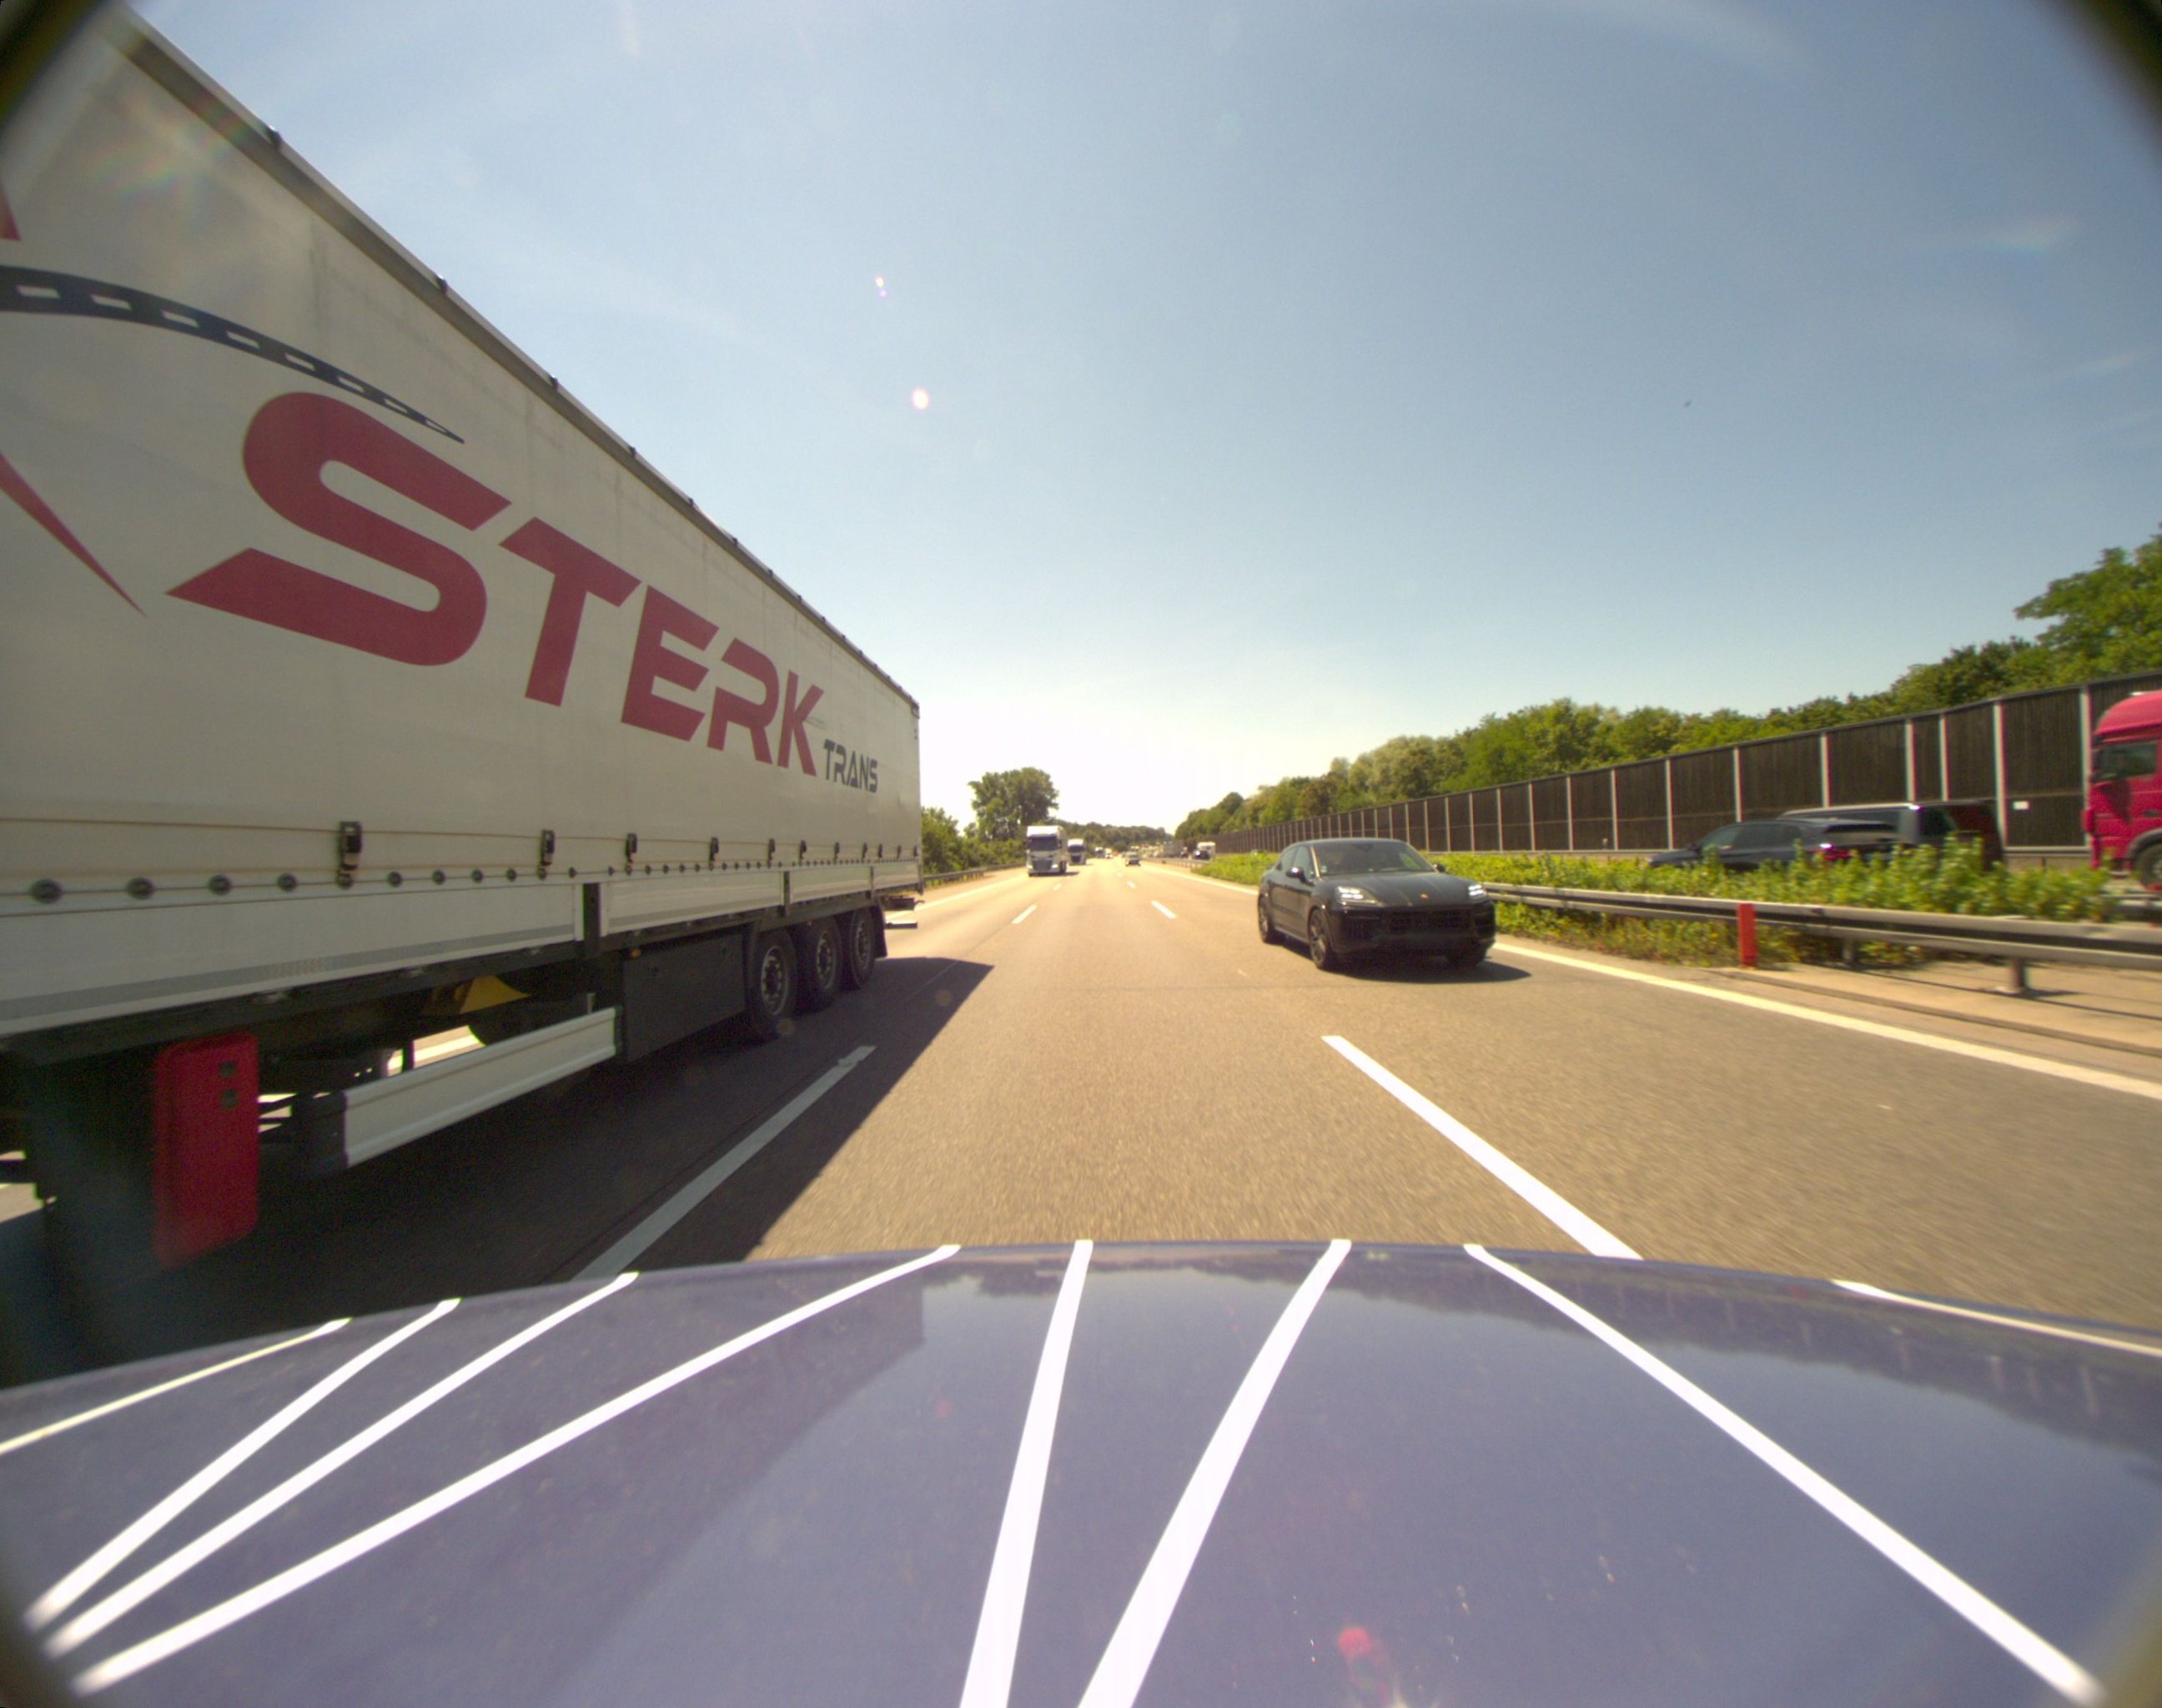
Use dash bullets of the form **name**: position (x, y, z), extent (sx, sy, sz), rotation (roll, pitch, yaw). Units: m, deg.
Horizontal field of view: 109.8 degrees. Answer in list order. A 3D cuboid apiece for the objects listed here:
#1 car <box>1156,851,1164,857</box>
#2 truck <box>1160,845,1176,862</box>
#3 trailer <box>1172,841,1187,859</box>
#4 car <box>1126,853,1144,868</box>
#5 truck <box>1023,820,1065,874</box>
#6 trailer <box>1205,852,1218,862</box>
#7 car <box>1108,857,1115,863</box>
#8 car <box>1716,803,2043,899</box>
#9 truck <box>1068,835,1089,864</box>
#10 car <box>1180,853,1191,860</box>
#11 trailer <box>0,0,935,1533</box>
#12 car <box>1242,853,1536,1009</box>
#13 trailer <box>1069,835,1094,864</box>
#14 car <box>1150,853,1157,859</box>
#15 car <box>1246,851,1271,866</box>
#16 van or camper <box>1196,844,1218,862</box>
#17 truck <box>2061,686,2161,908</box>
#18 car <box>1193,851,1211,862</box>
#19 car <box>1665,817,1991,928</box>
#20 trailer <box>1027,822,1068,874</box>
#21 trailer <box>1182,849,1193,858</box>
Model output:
- **car**: position (19.704, -0.022, 189.985), extent (1.923, 1.537, 4.583), rotation (-2, 0, 4)
- **truck**: position (17.541, -0.070, 152.911), extent (2.416, 3.333, 6.919), rotation (-2, 0, 1)
- **trailer**: position (24.305, -0.966, 187.245), extent (2.346, 4.052, 14.211), rotation (-2, 0, 2)
- **car**: position (6.592, 0.764, 93.642), extent (1.909, 1.717, 4.375), rotation (-2, 0, 0)
- **truck**: position (-2.891, -0.511, 61.522), extent (2.966, 4.082, 6.207), rotation (-2, 0, 0)
- **trailer**: position (21.959, 0.537, 127.958), extent (1.731, 1.569, 3.092), rotation (3, 0, 1)
- **car**: position (9.570, 1.967, 239.375), extent (1.908, 1.717, 4.377), rotation (-2, 0, 5)
- **car**: position (17.706, -0.061, 17.386), extent (1.998, 1.805, 5.220), rotation (-2, 0, 1)
- **truck**: position (-0.392, -0.721, 119.887), extent (2.541, 4.446, 5.574), rotation (-2, 0, 5)
- **car**: position (22.965, 0.567, 167.070), extent (1.924, 1.366, 4.582), rotation (-2, 0, 2)
- **trailer**: position (-3.958, -0.366, 5.608), extent (2.714, 4.064, 14.151), rotation (-2, 0, 1)
- **car**: position (3.891, 0.830, 10.984), extent (2.048, 1.615, 5.772), rotation (-2, 0, 2)
- **trailer**: position (0.216, -0.742, 126.252), extent (2.541, 4.445, 14.166), rotation (-2, 0, 6)
- **car**: position (21.845, 0.632, 228.769), extent (1.809, 1.535, 4.246), rotation (-2, 0, 2)
- **car**: position (19.779, 0.472, 84.786), extent (1.818, 1.590, 4.000), rotation (-2, 0, 1)
- **van or camper**: position (22.045, -0.152, 133.209), extent (2.564, 2.897, 7.375), rotation (3, 0, 1)
- **truck**: position (21.050, -1.069, 13.006), extent (2.493, 4.063, 4.677), rotation (-2, 0, 1)
- **car**: position (15.358, 0.337, 96.474), extent (1.710, 1.347, 4.000), rotation (-2, 0, 1)
- **car**: position (13.679, 0.297, 14.384), extent (1.998, 1.710, 4.245), rotation (-2, 0, 1)
- **trailer**: position (-2.808, -0.496, 67.639), extent (2.966, 4.082, 12.532), rotation (-2, 0, 0)
- **trailer**: position (29.354, -0.179, 210.127), extent (2.136, 2.462, 6.269), rotation (-2, 0, 1)
